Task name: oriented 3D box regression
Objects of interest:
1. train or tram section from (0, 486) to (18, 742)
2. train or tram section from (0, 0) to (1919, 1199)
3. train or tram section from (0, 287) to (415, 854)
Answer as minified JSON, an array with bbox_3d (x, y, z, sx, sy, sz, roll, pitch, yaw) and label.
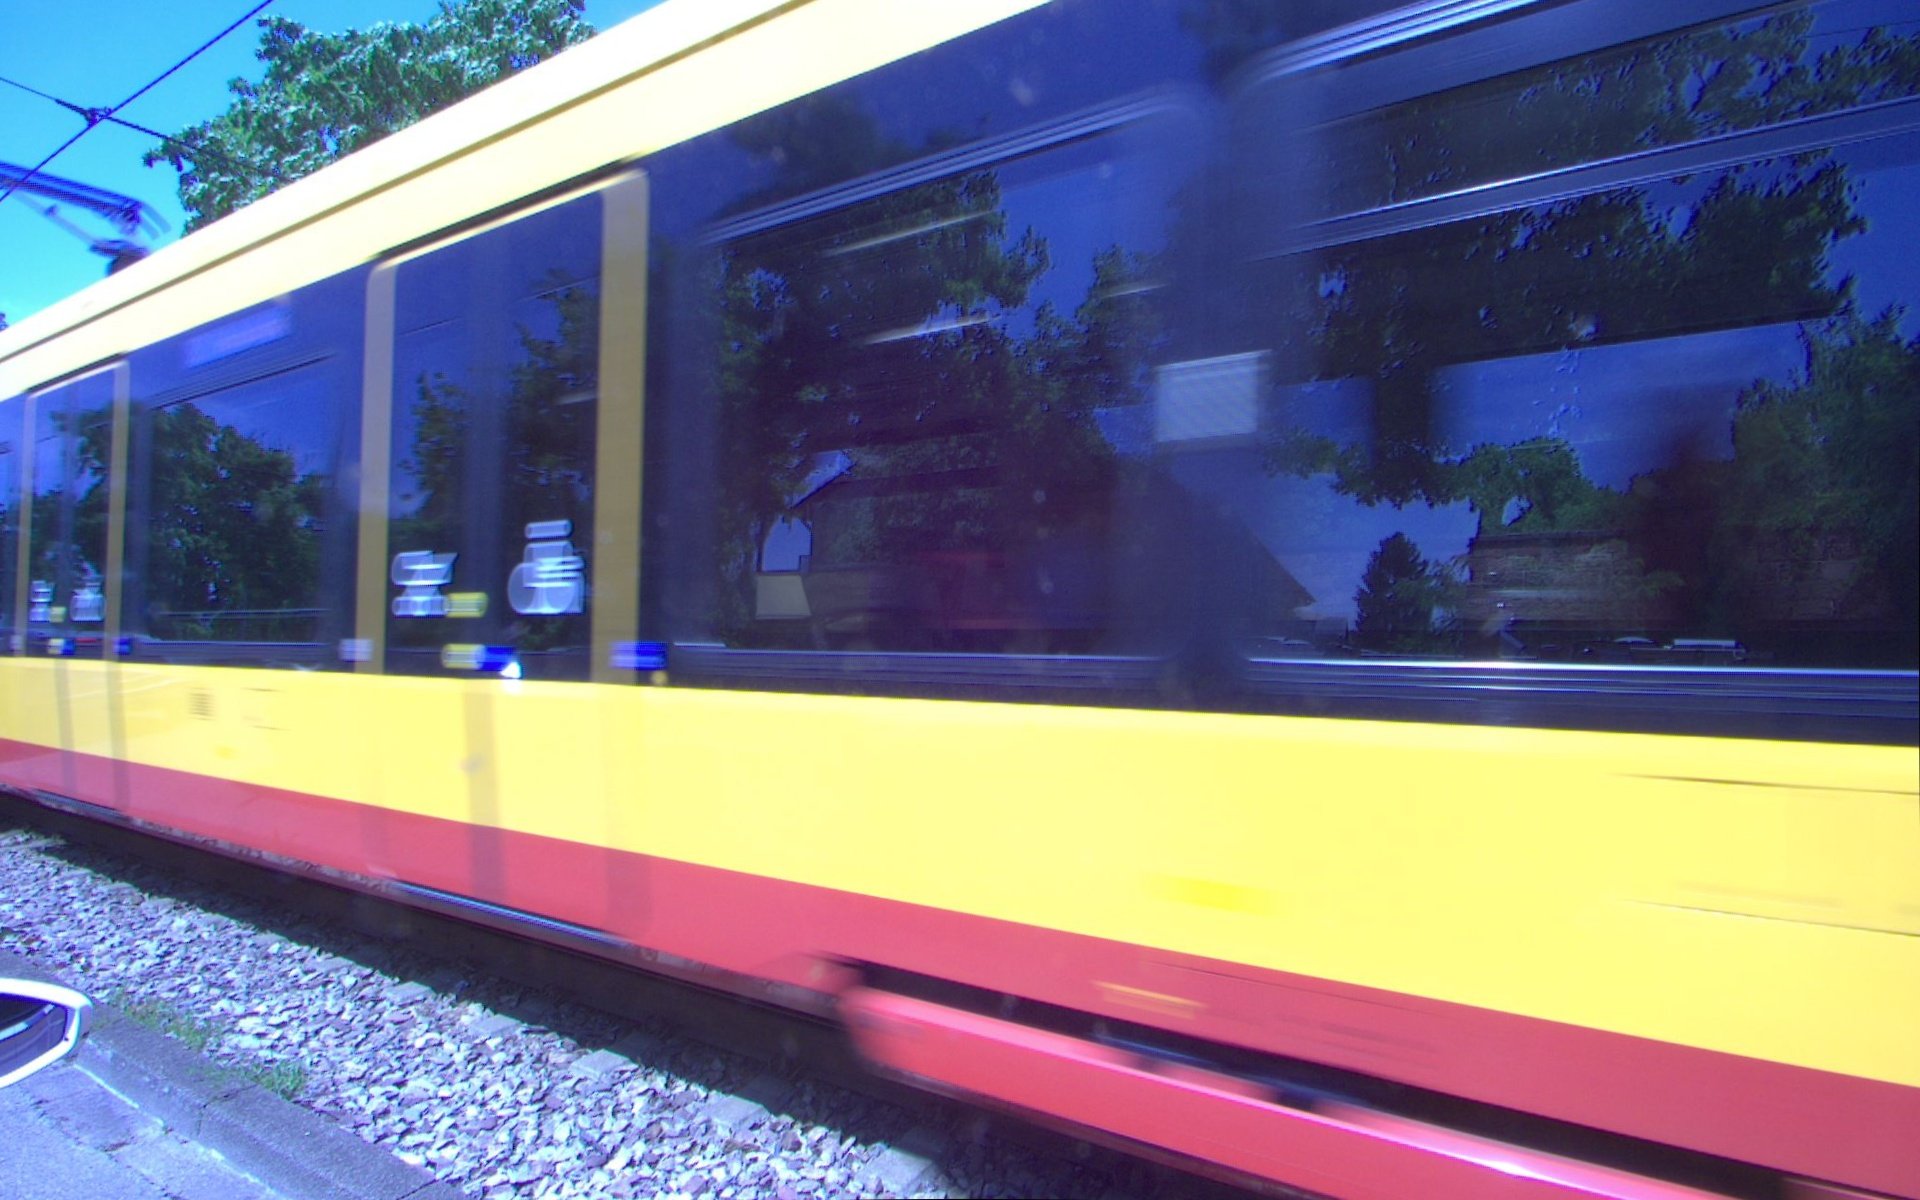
[{"bbox_3d":[-18.885,0.196,16.227,10.795,3.655,2.736,-1,-2,33],"label":"train or tram section"},{"bbox_3d":[-0.568,-0.252,4.309,12.688,3.655,2.736,-1,-2,33],"label":"train or tram section"},{"bbox_3d":[-10.033,-0.078,10.498,10.795,3.655,2.736,-1,-2,33],"label":"train or tram section"}]
